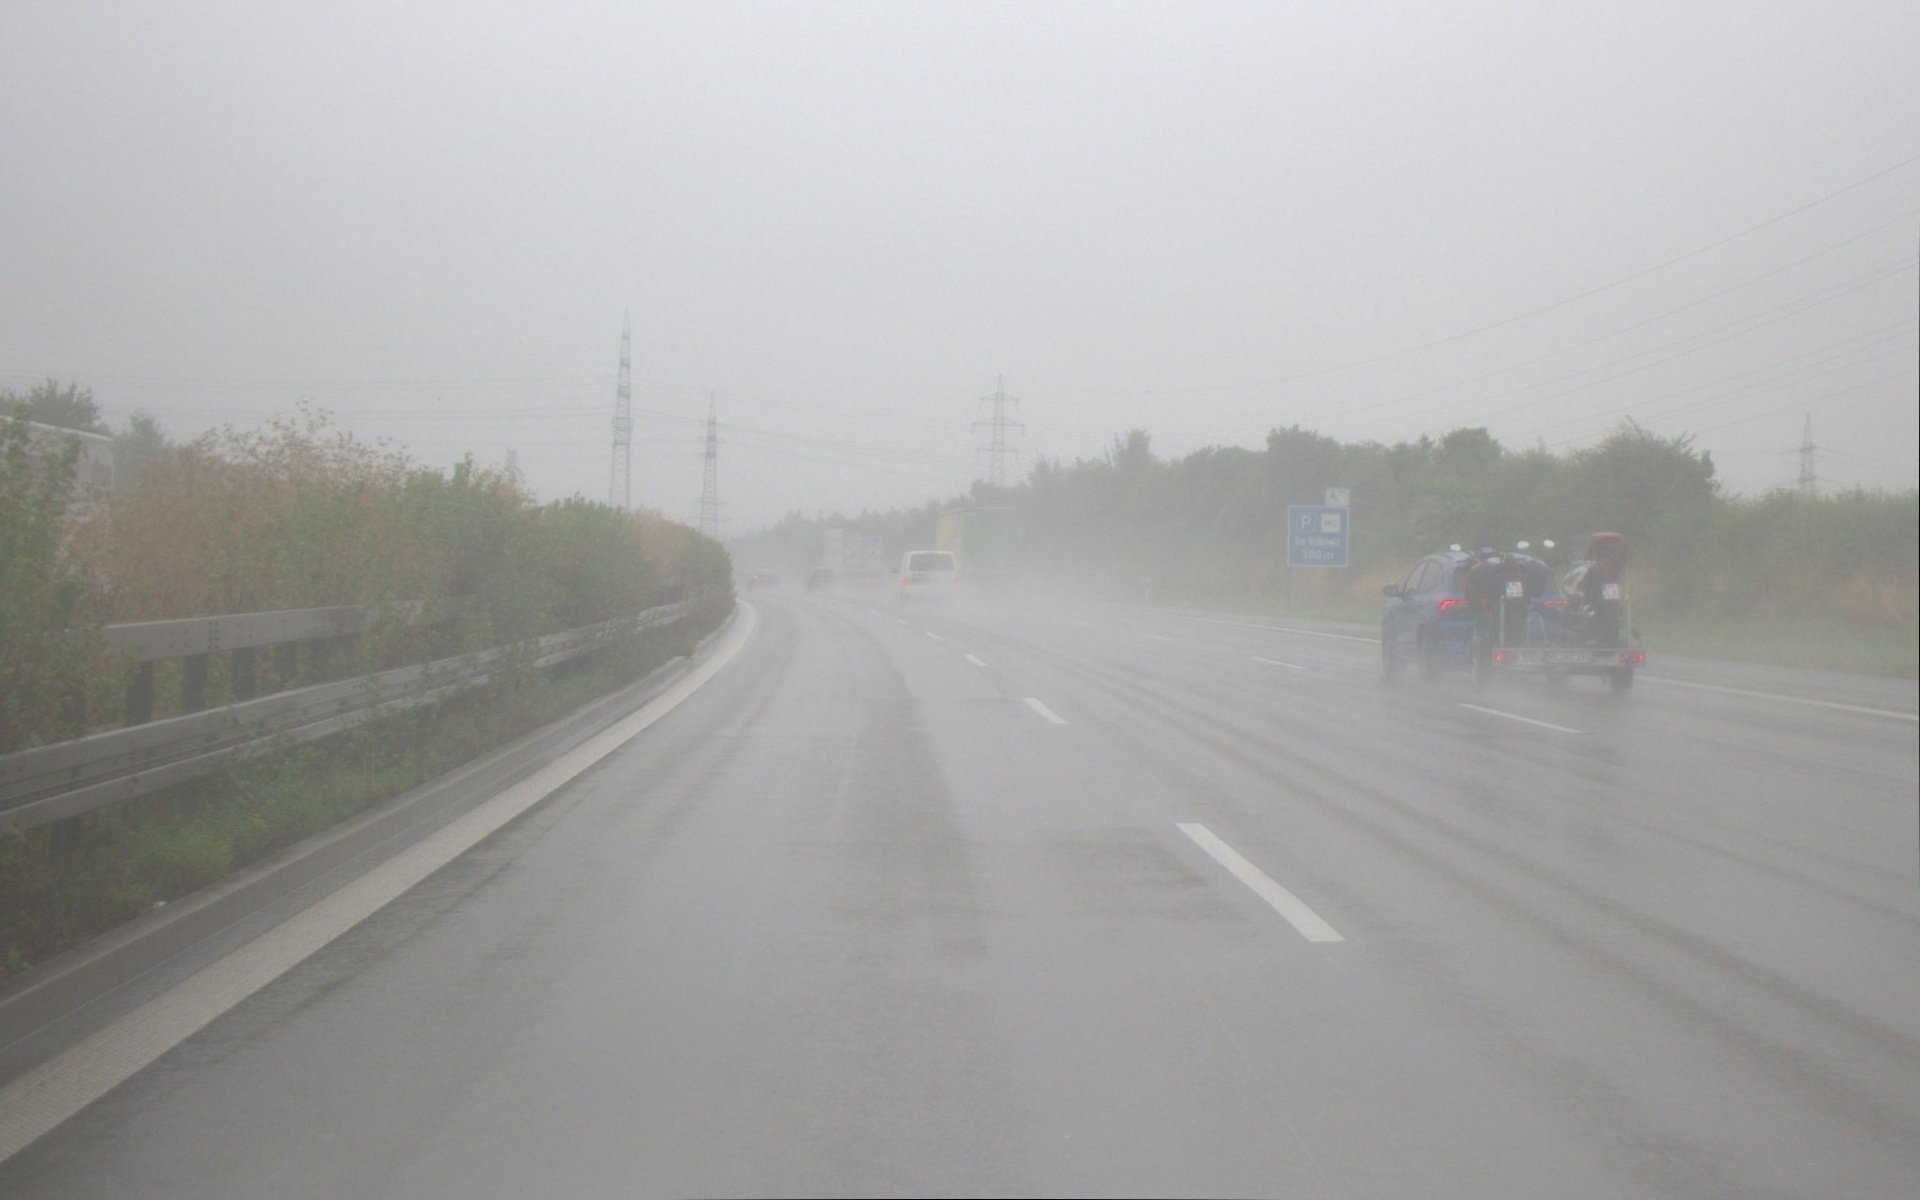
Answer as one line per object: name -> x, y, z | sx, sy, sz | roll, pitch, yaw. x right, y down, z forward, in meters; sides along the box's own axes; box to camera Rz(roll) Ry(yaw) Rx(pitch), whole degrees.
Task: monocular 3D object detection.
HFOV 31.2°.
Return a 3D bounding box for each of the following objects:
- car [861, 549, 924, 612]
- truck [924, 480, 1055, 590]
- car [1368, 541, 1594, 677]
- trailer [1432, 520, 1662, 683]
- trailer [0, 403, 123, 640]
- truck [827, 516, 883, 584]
car -> -2.232, -0.648, 113.059 | 1.993, 2.007, 4.000 | 0, 1, -2
truck -> 1.161, -2.755, 152.871 | 4.188, 4.614, 16.108 | 0, 0, -5
car -> 6.512, 0.106, 43.487 | 1.993, 1.613, 4.992 | 0, 0, -1
trailer -> 6.673, 0.020, 39.412 | 1.979, 1.779, 3.189 | 0, 0, -2
trailer -> -18.442, -1.437, 64.951 | 2.517, 4.206, 12.944 | 0, 1, -2
truck -> -6.864, -3.221, 223.682 | 3.232, 4.297, 8.838 | 0, 1, -4
